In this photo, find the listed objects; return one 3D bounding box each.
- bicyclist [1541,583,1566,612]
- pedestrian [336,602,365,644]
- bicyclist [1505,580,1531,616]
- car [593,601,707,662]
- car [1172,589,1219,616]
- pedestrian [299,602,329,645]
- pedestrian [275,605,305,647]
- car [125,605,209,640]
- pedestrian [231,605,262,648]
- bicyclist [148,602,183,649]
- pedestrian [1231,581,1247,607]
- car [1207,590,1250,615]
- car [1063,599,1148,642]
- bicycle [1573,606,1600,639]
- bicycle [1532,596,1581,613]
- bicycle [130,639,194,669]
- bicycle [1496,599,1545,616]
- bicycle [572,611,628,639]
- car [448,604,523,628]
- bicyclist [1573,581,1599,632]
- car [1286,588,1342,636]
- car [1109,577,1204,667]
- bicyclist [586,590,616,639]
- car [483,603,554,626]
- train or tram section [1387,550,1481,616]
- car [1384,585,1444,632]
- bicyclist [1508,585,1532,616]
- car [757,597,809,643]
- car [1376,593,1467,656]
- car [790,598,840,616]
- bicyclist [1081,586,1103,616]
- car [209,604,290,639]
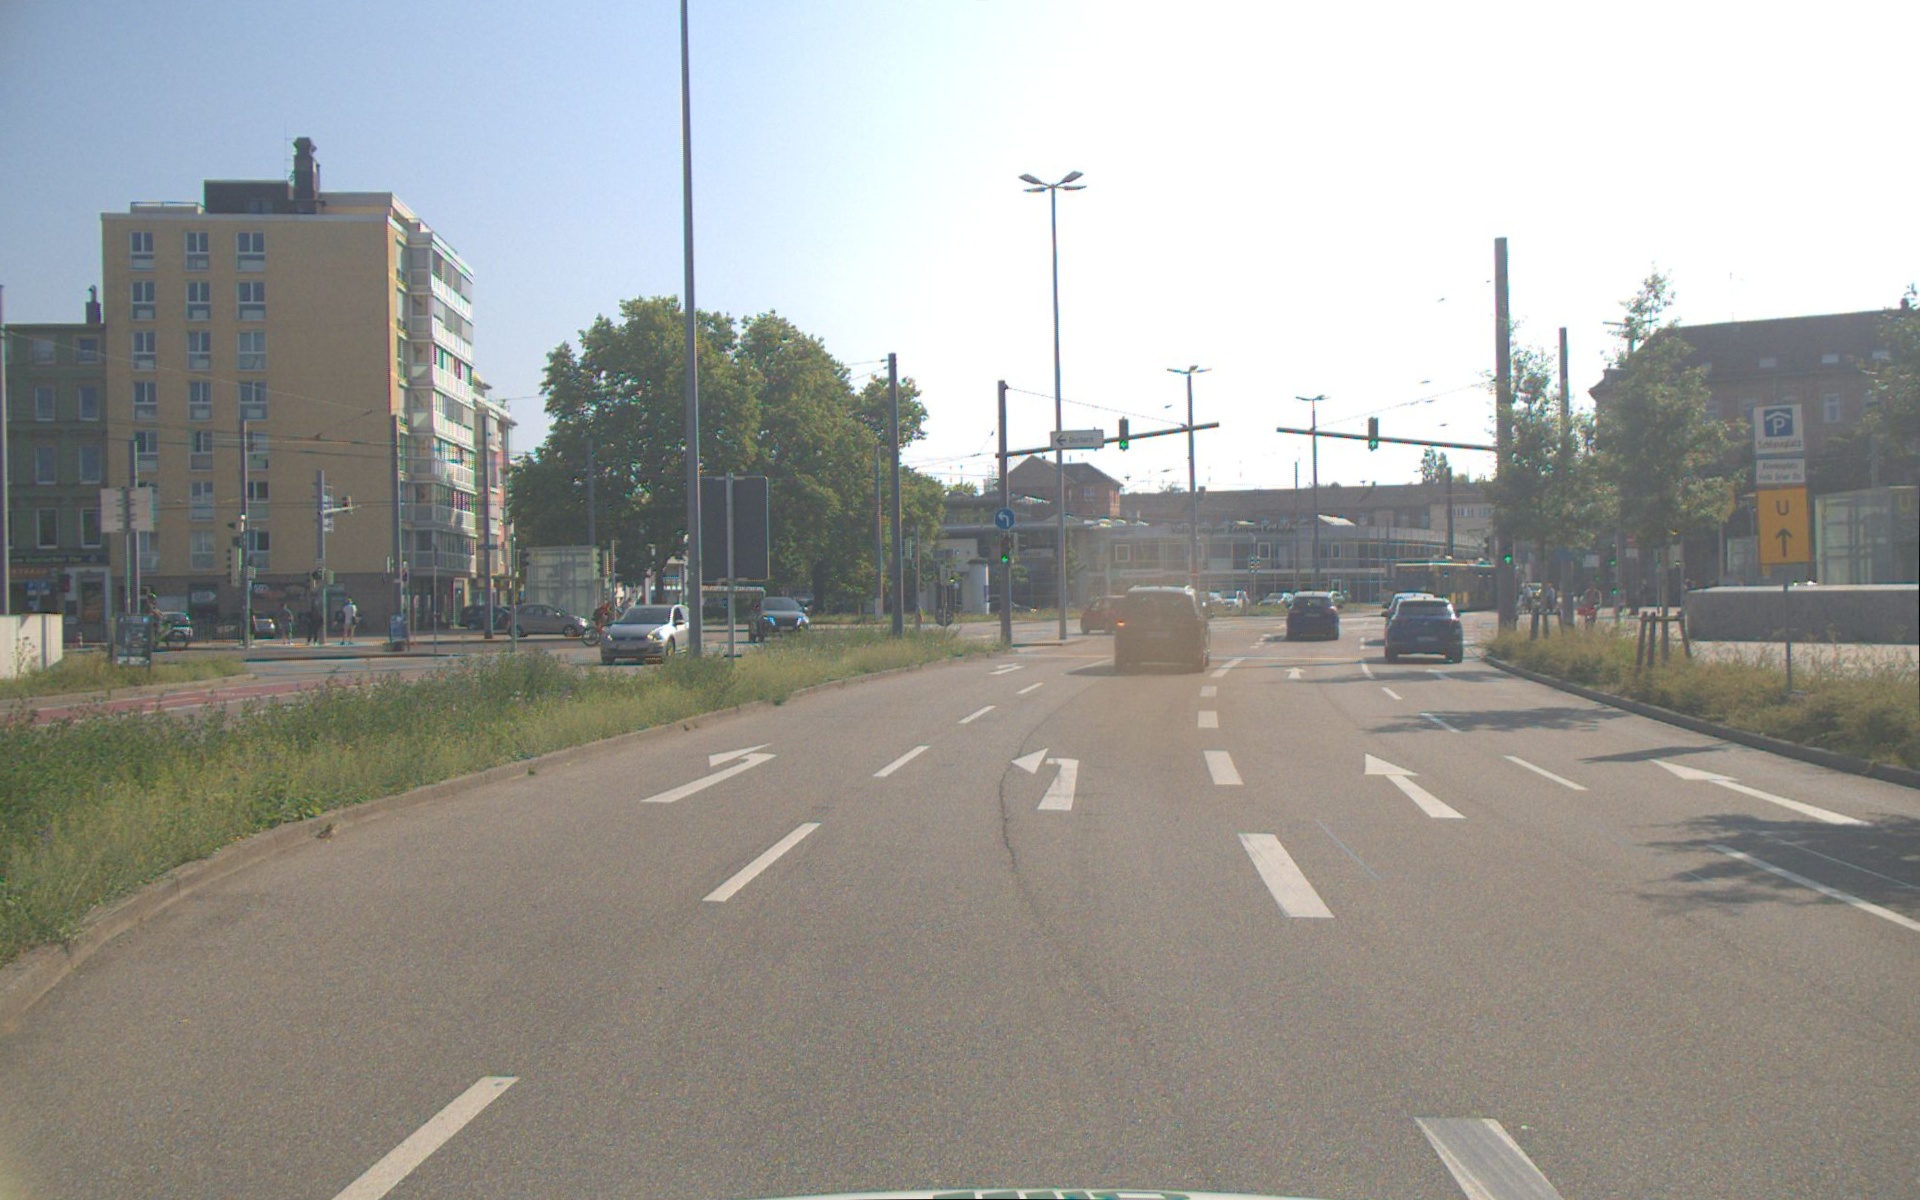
[{"bbox_3d":[35.557,-0.125,99.103,0.917,1.709,1.090,-1,0,-12],"label":"bicyclist"},{"bbox_3d":[-25.113,0.955,68.180,0.904,1.719,0.921,-1,0,-6],"label":"pedestrian"},{"bbox_3d":[32.364,-0.092,95.889,0.922,2.059,1.084,-1,0,-26],"label":"bicyclist"},{"bbox_3d":[-7.884,0.771,42.434,1.775,1.458,4.227,-1,0,5],"label":"car"},{"bbox_3d":[14.358,0.143,100.743,1.582,1.501,3.996,-3,-1,26],"label":"car"},{"bbox_3d":[-26.643,0.963,68.242,0.904,1.719,0.921,-1,0,-6],"label":"pedestrian"},{"bbox_3d":[-27.717,1.053,68.419,0.904,1.719,0.921,-1,0,-6],"label":"pedestrian"},{"bbox_3d":[-40.055,1.121,83.486,4.459,1.708,1.992,-1,0,36],"label":"car"},{"bbox_3d":[-29.050,1.062,67.391,0.904,1.719,0.921,-1,0,-6],"label":"pedestrian"},{"bbox_3d":[-26.698,0.862,55.579,0.778,1.554,0.726,-1,0,0],"label":"bicyclist"},{"bbox_3d":[16.277,-0.355,96.337,0.762,1.529,0.710,-1,0,23],"label":"pedestrian"},{"bbox_3d":[17.350,0.176,106.782,1.582,1.501,3.996,-3,-1,26],"label":"car"},{"bbox_3d":[5.641,0.780,64.654,1.797,1.562,4.391,-1,0,-17],"label":"car"},{"bbox_3d":[19.215,0.680,50.726,0.705,0.976,1.921,-1,0,22],"label":"bicycle"},{"bbox_3d":[35.748,0.246,99.153,2.573,0.981,1.090,-1,0,-13],"label":"bicycle"},{"bbox_3d":[-26.797,1.796,55.580,1.775,0.948,0.726,-1,0,0],"label":"bicycle"},{"bbox_3d":[33.229,0.444,98.062,2.573,0.981,1.090,-1,0,-13],"label":"bicycle"},{"bbox_3d":[-12.638,0.864,58.093,1.775,0.948,0.726,-1,0,0],"label":"bicycle"},{"bbox_3d":[-27.944,0.939,97.487,4.078,1.378,1.479,-1,0,-8],"label":"car"},{"bbox_3d":[19.239,0.196,50.796,0.705,1.539,1.004,-1,0,22],"label":"bicyclist"},{"bbox_3d":[12.310,0.388,57.748,1.786,1.562,4.416,-1,0,11],"label":"car"},{"bbox_3d":[4.196,0.412,34.841,1.786,1.744,4.416,0,1,9],"label":"car"},{"bbox_3d":[-12.607,0.504,58.094,0.863,1.681,0.726,-1,0,0],"label":"bicyclist"},{"bbox_3d":[-27.675,0.933,103.798,4.078,1.378,1.575,-1,0,-8],"label":"car"},{"bbox_3d":[28.870,-1.047,100.327,2.607,3.763,10.562,-1,0,32],"label":"train or tram section"},{"bbox_3d":[15.125,0.249,55.290,1.786,1.453,4.416,-1,0,14],"label":"car"},{"bbox_3d":[33.207,0.015,98.056,0.917,1.831,1.090,-1,0,-12],"label":"bicyclist"},{"bbox_3d":[-6.628,0.727,61.713,1.663,1.645,4.452,-1,0,-9],"label":"car"},{"bbox_3d":[11.470,0.575,41.378,1.786,1.453,4.416,-1,0,11],"label":"car"},{"bbox_3d":[-12.693,0.629,145.222,1.675,1.549,4.487,-1,0,42],"label":"car"},{"bbox_3d":[7.955,0.065,100.013,0.939,1.779,1.165,-1,0,27],"label":"bicyclist"},{"bbox_3d":[-35.809,1.077,83.296,4.466,1.708,1.989,-1,0,40],"label":"car"}]
